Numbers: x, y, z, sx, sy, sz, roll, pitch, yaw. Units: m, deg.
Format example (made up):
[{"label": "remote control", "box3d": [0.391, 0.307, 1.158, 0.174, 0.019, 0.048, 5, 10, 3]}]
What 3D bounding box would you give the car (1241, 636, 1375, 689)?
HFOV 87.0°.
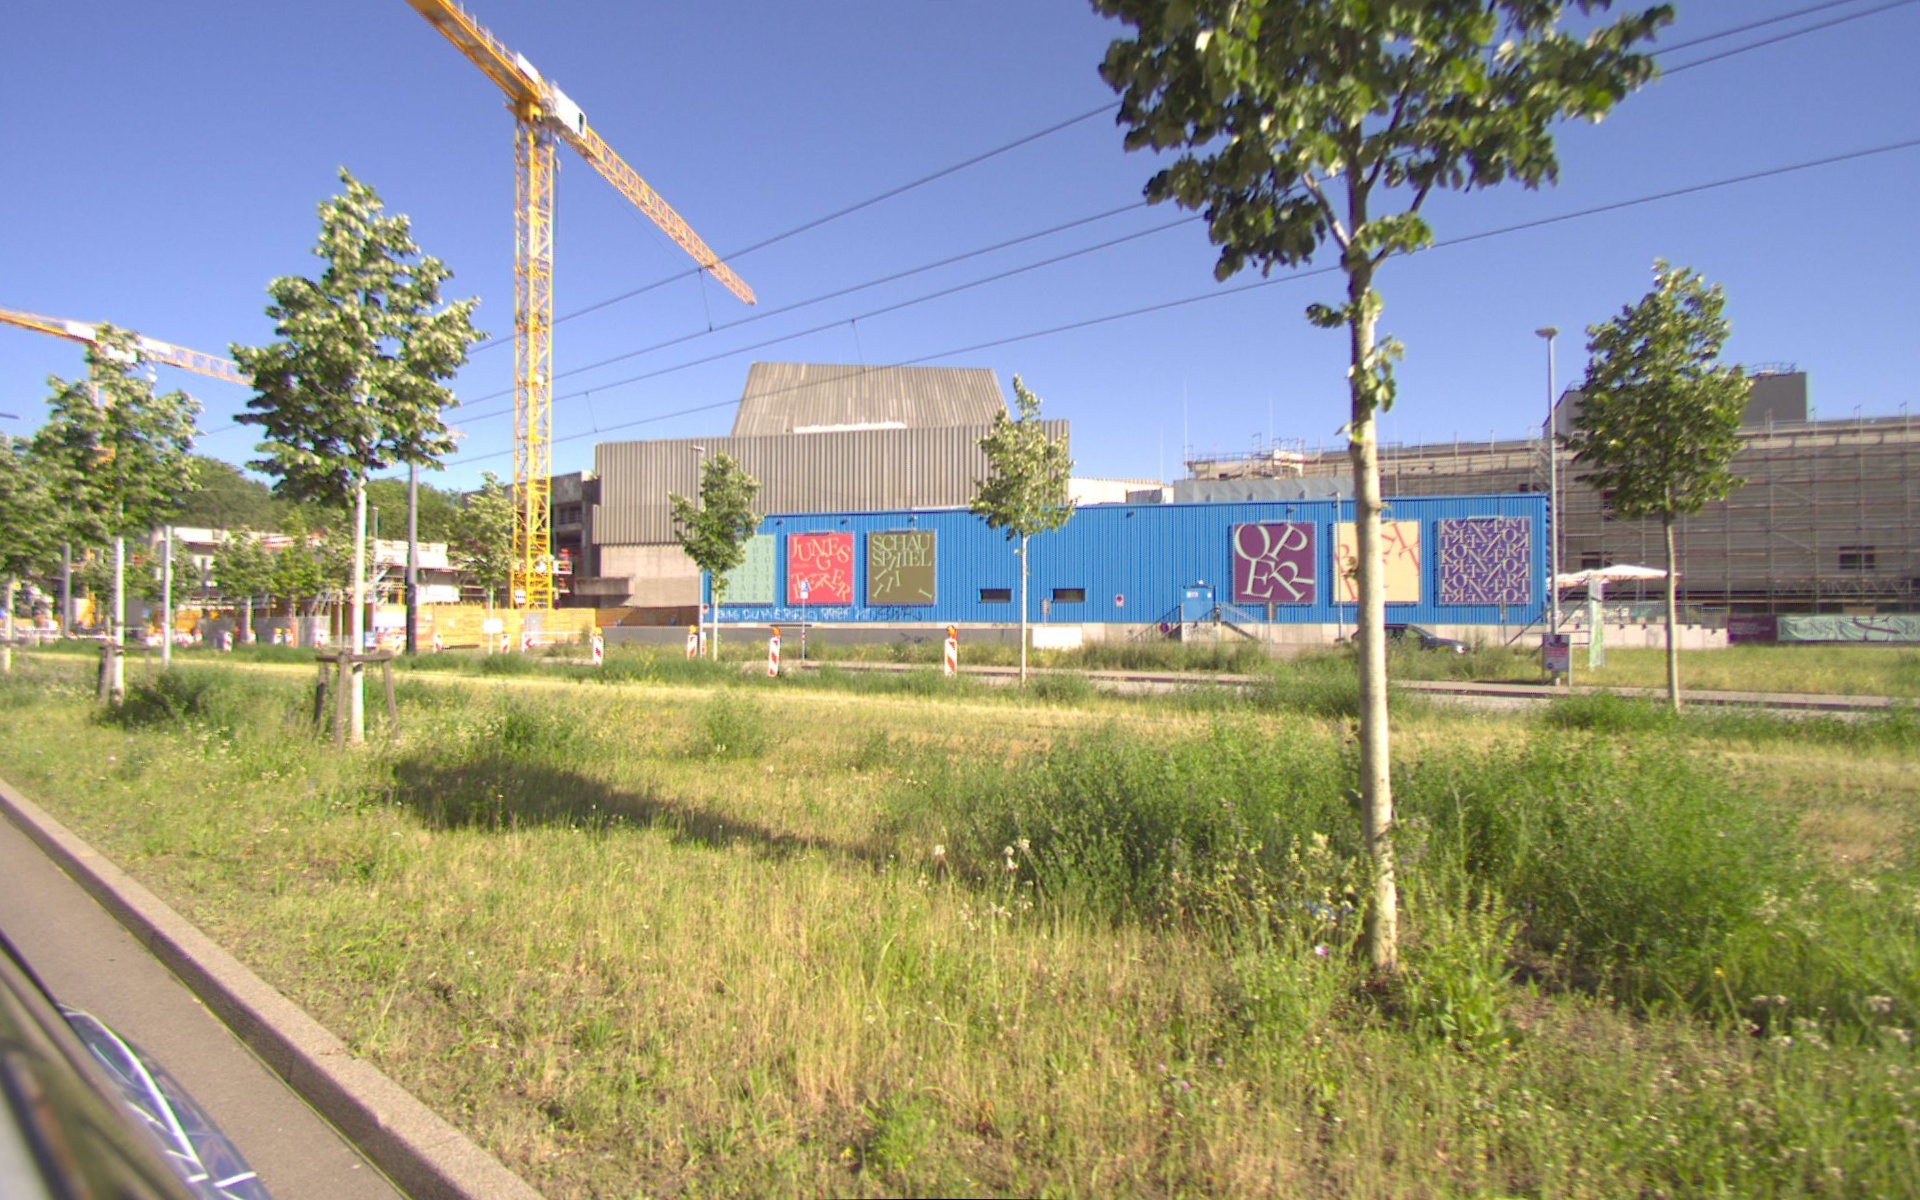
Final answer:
[{"label": "car", "box3d": [11.432, 2.025, 33.375, 3.855, 1.547, 1.542, -1, 0, 40]}]
